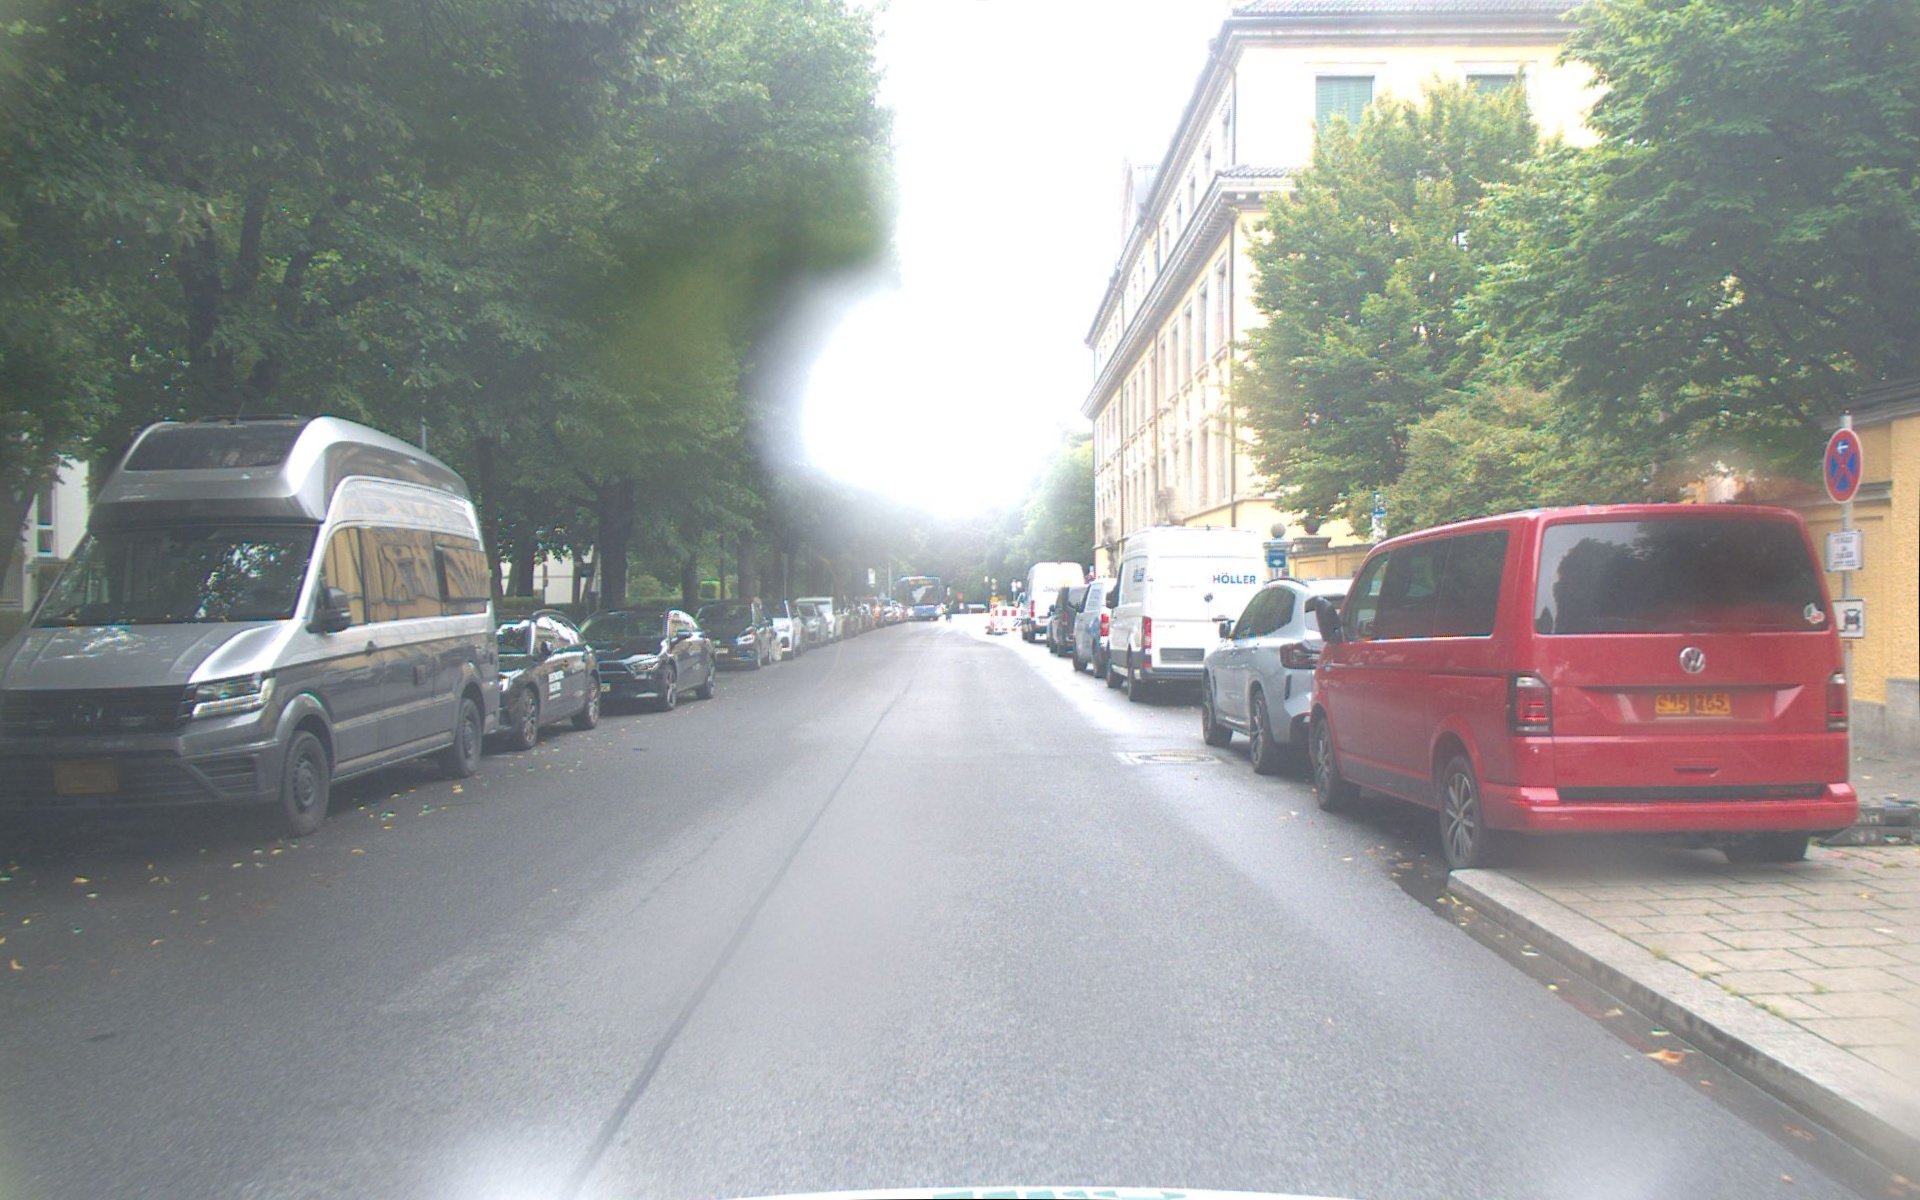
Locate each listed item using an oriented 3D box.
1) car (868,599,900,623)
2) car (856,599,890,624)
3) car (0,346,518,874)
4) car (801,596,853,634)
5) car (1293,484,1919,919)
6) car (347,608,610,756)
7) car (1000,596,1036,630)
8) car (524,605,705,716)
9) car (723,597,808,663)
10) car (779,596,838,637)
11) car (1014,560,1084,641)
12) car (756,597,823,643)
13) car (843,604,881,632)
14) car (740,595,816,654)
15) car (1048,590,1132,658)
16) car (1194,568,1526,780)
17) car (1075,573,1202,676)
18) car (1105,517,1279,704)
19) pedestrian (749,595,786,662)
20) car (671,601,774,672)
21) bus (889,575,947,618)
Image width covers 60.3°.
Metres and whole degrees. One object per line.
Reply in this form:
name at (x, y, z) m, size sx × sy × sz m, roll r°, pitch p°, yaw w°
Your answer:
car at (-4.764, 0.670, 103.693) m, size 1.954 × 1.445 × 3.998 m, roll 0°, pitch 0°, yaw -3°
car at (-5.150, 0.658, 98.088) m, size 1.954 × 1.445 × 3.998 m, roll 0°, pitch 0°, yaw -3°
car at (-5.291, 0.052, 12.736) m, size 2.128 × 3.055 × 6.232 m, roll -1°, pitch 0°, yaw -1°
car at (-5.292, 0.589, 66.355) m, size 1.954 × 1.445 × 3.998 m, roll 0°, pitch 0°, yaw -3°
car at (3.549, 0.456, 10.069) m, size 1.873 × 1.971 × 4.967 m, roll -1°, pitch 0°, yaw -2°
car at (-5.257, 0.832, 18.630) m, size 1.954 × 1.445 × 3.998 m, roll 0°, pitch 0°, yaw -3°
car at (3.164, 0.679, 89.064) m, size 1.767 × 1.767 × 4.002 m, roll -1°, pitch 0°, yaw 4°
car at (-4.934, 0.815, 24.189) m, size 1.954 × 1.445 × 4.127 m, roll 0°, pitch 0°, yaw -3°
car at (-5.150, 0.766, 44.217) m, size 1.954 × 1.648 × 4.127 m, roll 0°, pitch 0°, yaw -3°
car at (-5.486, 0.576, 60.156) m, size 1.954 × 1.445 × 3.998 m, roll 0°, pitch 0°, yaw -3°
car at (3.063, 0.008, 57.687) m, size 1.804 × 2.668 × 4.379 m, roll -1°, pitch 0°, yaw -5°
car at (-5.559, 0.627, 54.212) m, size 1.954 × 1.445 × 3.998 m, roll 0°, pitch 0°, yaw -3°
car at (-5.247, 0.944, 88.888) m, size 1.954 × 1.445 × 3.998 m, roll 0°, pitch 0°, yaw -3°
car at (-5.322, 0.675, 48.752) m, size 1.954 × 1.648 × 4.127 m, roll 0°, pitch 0°, yaw -3°
car at (3.409, 0.608, 43.946) m, size 1.758 × 1.708 × 3.998 m, roll -1°, pitch 0°, yaw -2°
car at (3.515, 0.583, 15.470) m, size 1.953 × 1.663 × 4.563 m, roll -1°, pitch 0°, yaw -1°
car at (3.484, 0.450, 33.045) m, size 1.953 × 1.916 × 3.998 m, roll -1°, pitch 0°, yaw -2°
car at (3.497, 0.138, 25.973) m, size 1.953 × 2.603 × 5.430 m, roll -1°, pitch 0°, yaw 0°
pedestrian at (-4.755, 0.695, 40.834) m, size 0.867 × 1.626 × 0.822 m, roll 0°, pitch 0°, yaw -8°
car at (-5.389, 0.794, 37.967) m, size 1.954 × 1.513 × 4.127 m, roll 0°, pitch 0°, yaw -3°
bus at (-3.075, -0.231, 118.981) m, size 2.885 × 2.970 × 8.218 m, roll 0°, pitch 0°, yaw -11°
